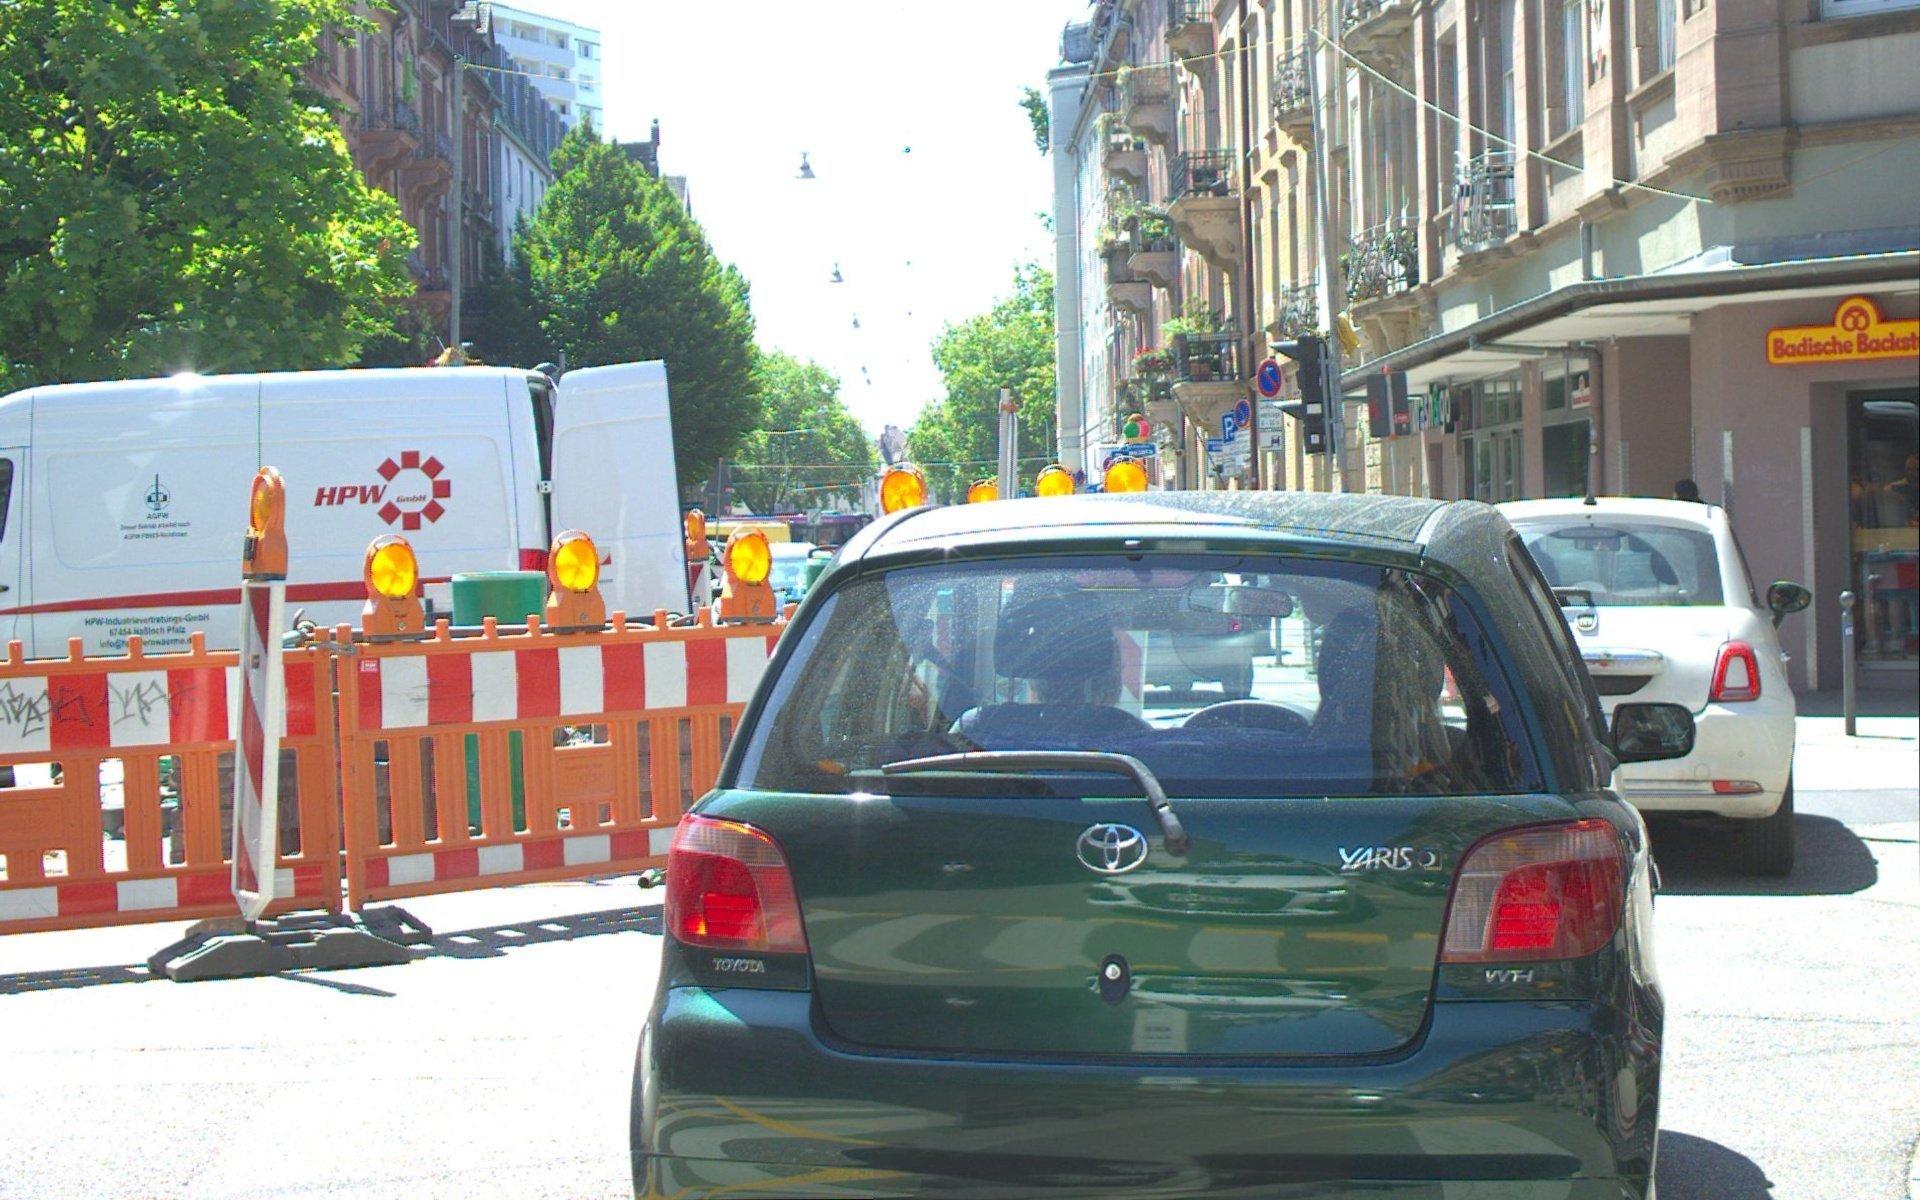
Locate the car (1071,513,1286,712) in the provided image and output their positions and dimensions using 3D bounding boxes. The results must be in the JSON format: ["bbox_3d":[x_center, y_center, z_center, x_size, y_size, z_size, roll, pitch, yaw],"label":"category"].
[{"bbox_3d":[1.838,0.063,29.742,1.522,1.587,3.264,-1,1,-2],"label":"car"}]

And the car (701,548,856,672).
[{"bbox_3d":[-2.261,0.093,43.737,1.754,1.439,4.000,-2,1,0],"label":"car"}]

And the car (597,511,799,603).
[{"bbox_3d":[-6.508,-1.083,85.494,4.557,2.180,2.000,-2,1,-28],"label":"car"}]

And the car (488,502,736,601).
[{"bbox_3d":[-7.372,-1.034,73.004,4.773,1.987,2.054,-2,1,-29],"label":"car"}]

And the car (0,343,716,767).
[{"bbox_3d":[-5.080,-0.317,23.570,6.621,2.742,2.380,0,1,1],"label":"car"}]

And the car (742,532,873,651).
[{"bbox_3d":[-2.309,-0.164,53.079,1.754,1.639,4.378,-4,1,0],"label":"car"}]

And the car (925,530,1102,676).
[{"bbox_3d":[0.619,-0.002,43.168,1.993,1.612,4.000,-4,1,-1],"label":"car"}]

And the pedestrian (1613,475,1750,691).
[{"bbox_3d":[5.536,-0.136,26.398,0.641,1.618,0.804,-2,1,-26],"label":"pedestrian"}]

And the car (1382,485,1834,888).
[{"bbox_3d":[2.858,0.289,14.688,1.523,1.516,3.261,-1,1,17],"label":"car"}]

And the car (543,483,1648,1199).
[{"bbox_3d":[0.487,0.551,6.584,1.614,1.480,3.239,0,1,11],"label":"car"}]

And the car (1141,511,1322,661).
[{"bbox_3d":[3.398,-0.208,43.771,1.871,1.707,4.504,-3,1,0],"label":"car"}]
